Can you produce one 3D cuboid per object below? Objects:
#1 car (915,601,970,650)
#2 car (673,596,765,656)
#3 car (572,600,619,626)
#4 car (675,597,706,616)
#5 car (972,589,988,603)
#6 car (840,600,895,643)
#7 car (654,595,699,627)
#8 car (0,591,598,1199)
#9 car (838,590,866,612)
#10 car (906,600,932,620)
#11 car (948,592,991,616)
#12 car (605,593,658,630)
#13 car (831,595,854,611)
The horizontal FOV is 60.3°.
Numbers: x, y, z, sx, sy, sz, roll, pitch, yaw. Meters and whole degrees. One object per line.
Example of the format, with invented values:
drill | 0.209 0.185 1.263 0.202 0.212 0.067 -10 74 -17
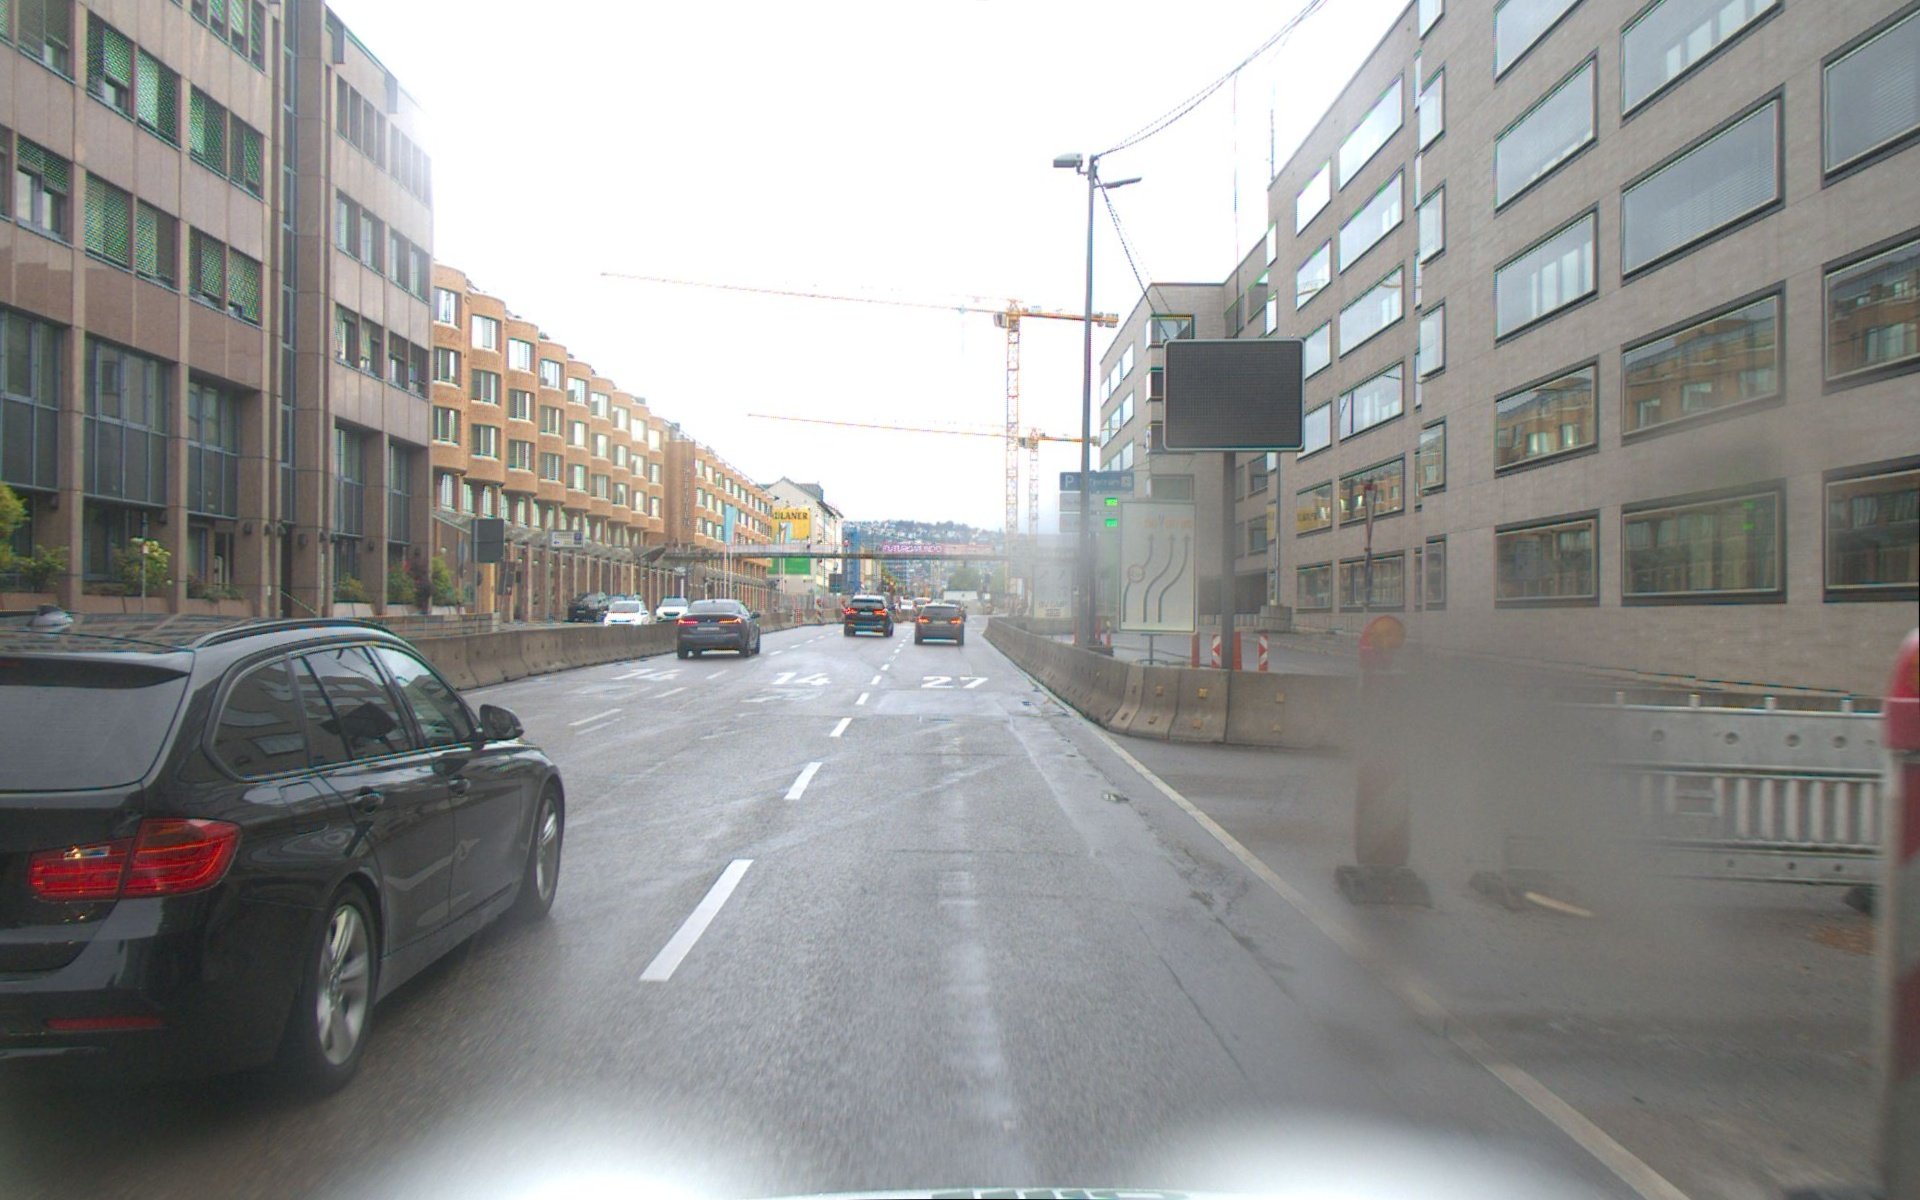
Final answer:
car | -0.601 0.907 59.989 1.861 1.723 4.000 0 0 1
car | -6.073 0.641 42.097 1.754 1.451 4.383 0 0 -1
car | -23.125 0.822 104.960 1.953 1.648 4.762 0 0 0
car | -23.788 0.616 145.965 1.953 1.648 4.689 0 0 0
car | 2.506 -0.454 209.437 1.860 1.723 4.001 0 0 2
car | -3.797 0.867 68.486 1.860 1.723 4.001 0 0 2
car | -15.839 0.581 92.535 1.783 1.647 4.191 0 1 0
car | -2.689 0.712 6.090 1.755 1.451 4.612 1 0 -1
car | -8.458 0.107 129.754 1.953 1.648 4.762 0 0 0
car | -3.470 0.865 140.754 1.952 1.648 4.763 0 0 1
car | 0.695 0.301 121.563 1.861 1.723 4.000 0 0 21
car | -13.857 0.458 69.926 1.570 1.468 3.657 0 1 -1
car | -12.574 0.350 177.164 1.952 1.648 4.764 0 0 2
